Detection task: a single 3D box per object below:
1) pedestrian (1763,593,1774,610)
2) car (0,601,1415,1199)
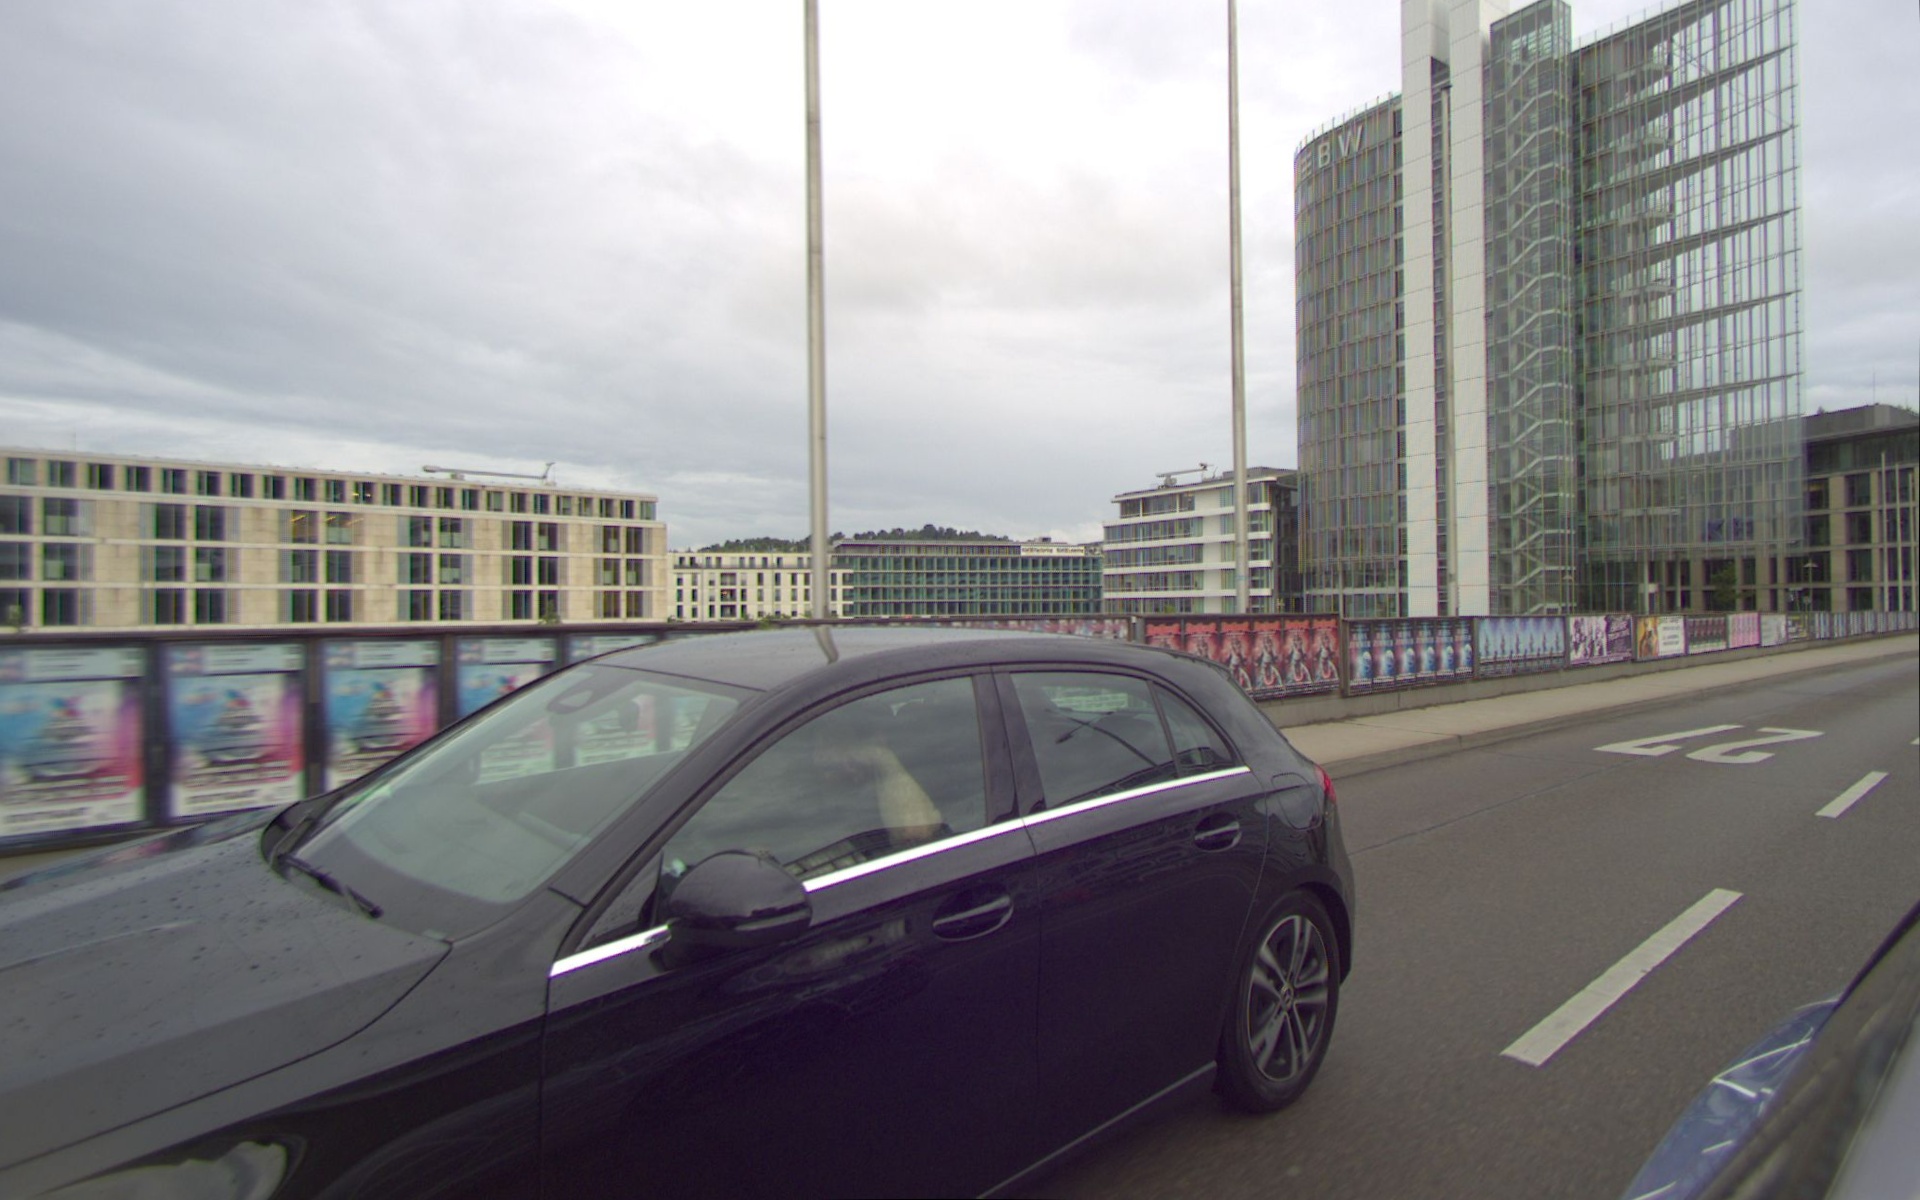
[{"bbox_3d":[82.202,0.139,102.910,0.621,1.767,0.637,-1,0,-14],"label":"pedestrian"},{"bbox_3d":[-0.578,0.749,2.654,4.084,1.393,1.726,-1,1,-42],"label":"car"}]
